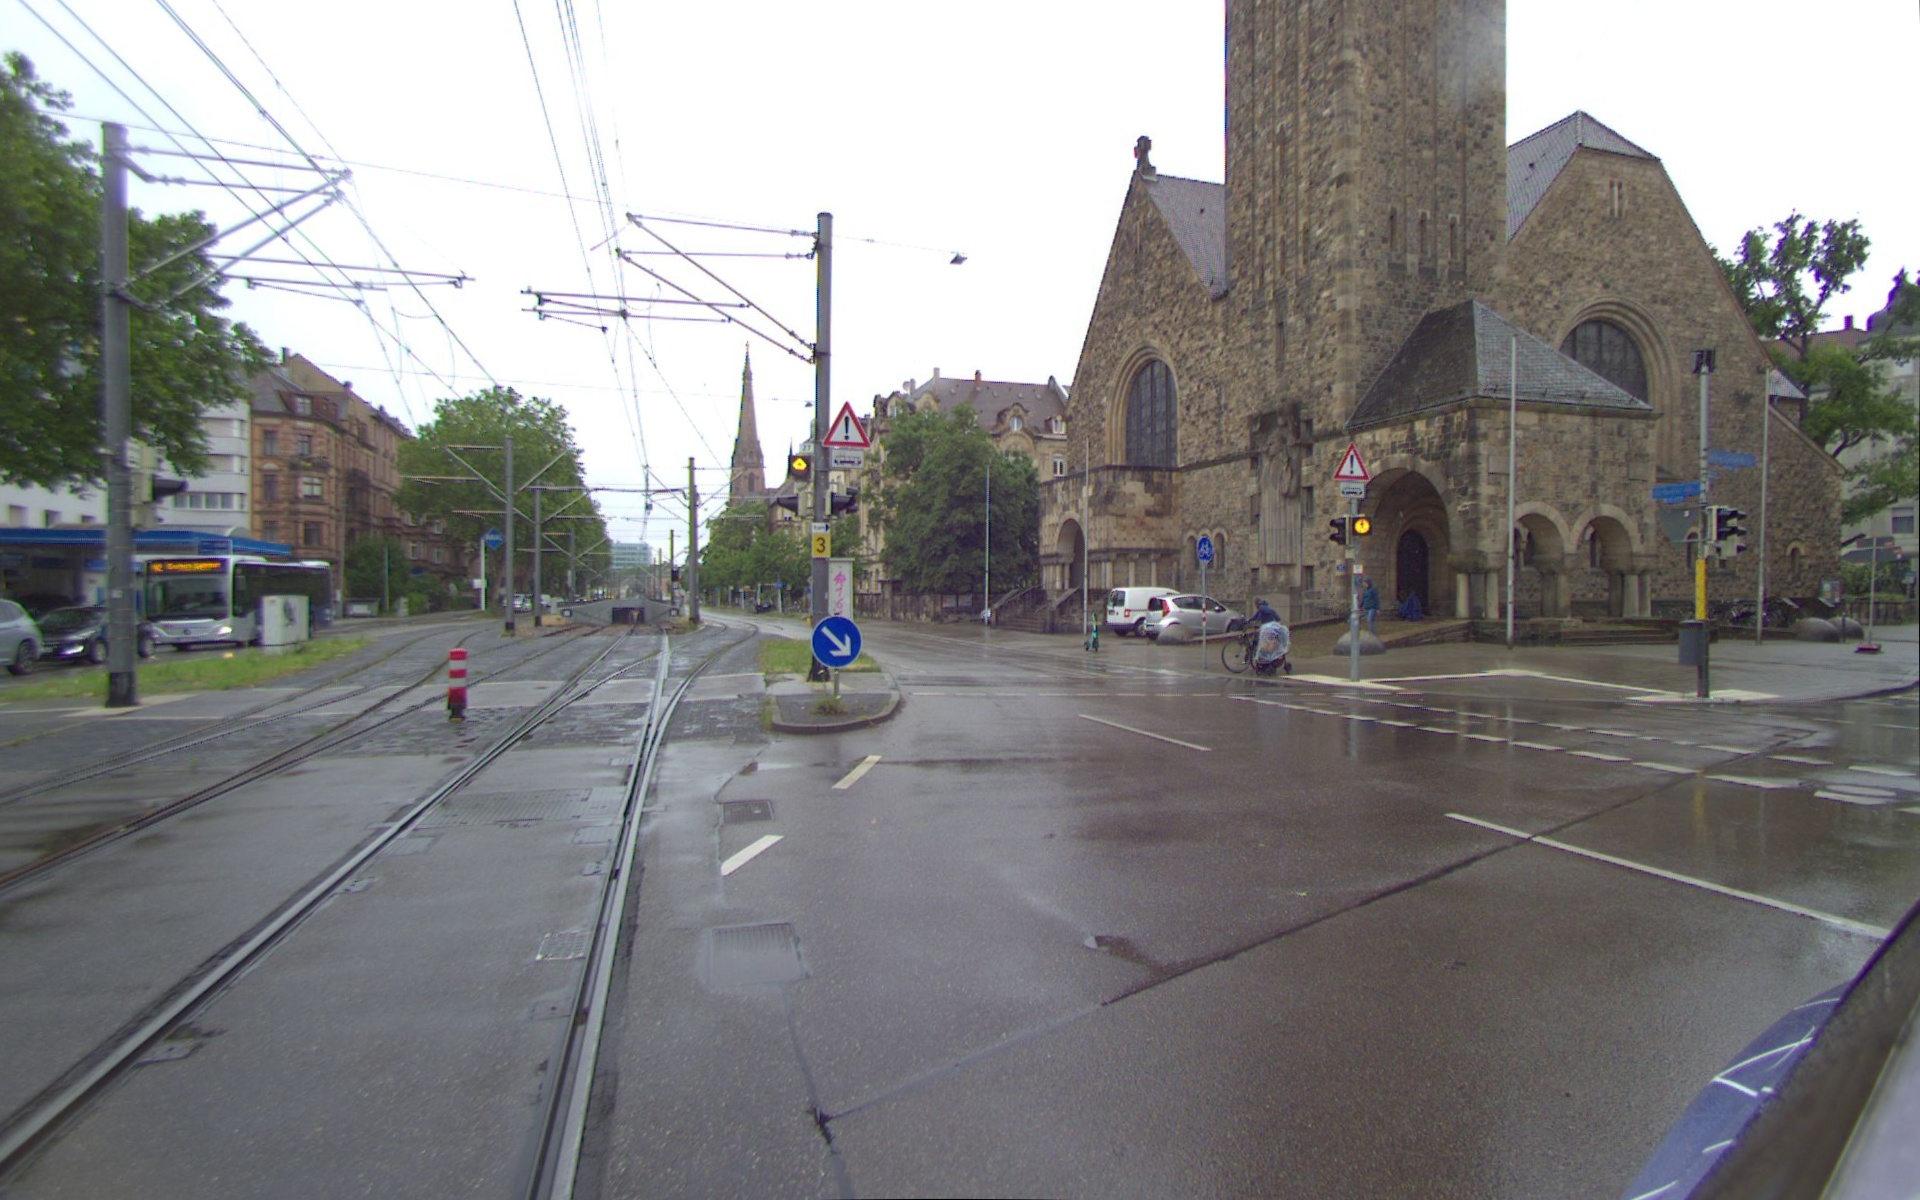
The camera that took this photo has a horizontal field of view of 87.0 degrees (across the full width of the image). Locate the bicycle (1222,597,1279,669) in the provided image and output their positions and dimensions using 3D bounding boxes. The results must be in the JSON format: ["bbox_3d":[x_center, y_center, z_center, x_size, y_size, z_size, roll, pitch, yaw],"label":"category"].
[{"bbox_3d":[6.326,0.687,21.975,0.530,1.485,1.914,0,0,37],"label":"bicycle"}]

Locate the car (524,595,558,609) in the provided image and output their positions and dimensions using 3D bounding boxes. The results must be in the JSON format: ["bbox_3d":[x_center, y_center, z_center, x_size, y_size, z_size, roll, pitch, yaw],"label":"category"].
[{"bbox_3d":[-50.269,0.192,121.471,3.740,1.644,1.780,0,0,-18],"label":"car"}]

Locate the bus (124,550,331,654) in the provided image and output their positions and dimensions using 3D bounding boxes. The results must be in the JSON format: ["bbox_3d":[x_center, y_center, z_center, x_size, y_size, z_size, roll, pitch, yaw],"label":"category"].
[{"bbox_3d":[-26.192,0.022,37.044,2.832,3.153,12.127,0,0,-20],"label":"bus"}]

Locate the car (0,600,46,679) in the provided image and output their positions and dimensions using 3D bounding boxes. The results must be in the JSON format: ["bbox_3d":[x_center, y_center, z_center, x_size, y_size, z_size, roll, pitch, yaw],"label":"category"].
[{"bbox_3d":[-20.486,0.820,20.155,1.754,1.620,4.564,0,0,-19],"label":"car"}]

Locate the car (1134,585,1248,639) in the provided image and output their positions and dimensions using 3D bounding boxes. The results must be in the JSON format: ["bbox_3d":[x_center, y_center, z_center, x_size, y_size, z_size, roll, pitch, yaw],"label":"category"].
[{"bbox_3d":[7.915,0.387,34.713,3.289,1.593,1.740,-4,1,-16],"label":"car"}]

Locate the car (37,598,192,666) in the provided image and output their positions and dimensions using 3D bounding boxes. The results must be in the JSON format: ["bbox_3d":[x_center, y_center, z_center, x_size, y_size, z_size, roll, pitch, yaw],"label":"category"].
[{"bbox_3d":[-22.049,0.759,26.599,1.741,1.620,4.187,0,0,-19],"label":"car"}]

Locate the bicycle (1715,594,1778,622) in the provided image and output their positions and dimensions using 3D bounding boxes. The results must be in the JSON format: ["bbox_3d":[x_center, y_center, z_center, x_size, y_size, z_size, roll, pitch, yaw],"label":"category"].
[{"bbox_3d":[30.754,0.301,39.613,0.569,1.074,1.932,0,1,-21],"label":"bicycle"}]

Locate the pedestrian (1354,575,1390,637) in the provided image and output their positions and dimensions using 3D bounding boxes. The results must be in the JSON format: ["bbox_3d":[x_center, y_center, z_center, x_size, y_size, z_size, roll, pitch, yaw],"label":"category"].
[{"bbox_3d":[11.620,0.157,28.548,0.664,1.724,0.635,0,0,-22],"label":"pedestrian"}]

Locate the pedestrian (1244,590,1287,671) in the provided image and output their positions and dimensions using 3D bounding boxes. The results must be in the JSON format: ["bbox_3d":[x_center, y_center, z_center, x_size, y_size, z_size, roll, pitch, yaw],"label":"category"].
[{"bbox_3d":[6.472,0.635,21.450,0.676,1.684,0.604,0,0,-39],"label":"pedestrian"}]

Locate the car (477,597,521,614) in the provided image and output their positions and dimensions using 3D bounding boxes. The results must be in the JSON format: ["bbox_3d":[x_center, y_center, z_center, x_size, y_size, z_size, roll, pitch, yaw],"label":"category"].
[{"bbox_3d":[-47.460,0.521,104.170,3.757,1.644,1.772,-1,0,-43],"label":"car"}]

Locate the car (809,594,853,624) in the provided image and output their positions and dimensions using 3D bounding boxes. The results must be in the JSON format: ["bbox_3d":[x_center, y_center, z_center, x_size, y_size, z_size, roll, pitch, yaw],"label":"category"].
[{"bbox_3d":[-8.483,0.553,66.250,1.939,1.816,4.008,-1,1,-22],"label":"car"}]

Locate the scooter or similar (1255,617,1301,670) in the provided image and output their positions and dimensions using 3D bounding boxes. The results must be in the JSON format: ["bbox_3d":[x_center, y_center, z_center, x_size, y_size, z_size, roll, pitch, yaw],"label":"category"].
[{"bbox_3d":[6.612,0.895,21.021,0.908,1.062,0.514,0,0,-40],"label":"scooter or similar"}]

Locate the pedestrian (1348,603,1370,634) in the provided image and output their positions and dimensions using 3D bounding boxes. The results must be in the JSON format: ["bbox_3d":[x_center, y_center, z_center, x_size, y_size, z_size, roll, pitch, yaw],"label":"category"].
[{"bbox_3d":[11.729,0.547,29.776,0.388,0.895,0.457,0,0,-22],"label":"pedestrian"}]

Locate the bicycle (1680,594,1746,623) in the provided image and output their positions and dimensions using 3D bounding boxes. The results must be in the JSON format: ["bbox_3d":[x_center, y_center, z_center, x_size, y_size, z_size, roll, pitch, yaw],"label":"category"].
[{"bbox_3d":[29.003,0.296,39.011,0.565,1.062,2.013,0,1,-25],"label":"bicycle"}]

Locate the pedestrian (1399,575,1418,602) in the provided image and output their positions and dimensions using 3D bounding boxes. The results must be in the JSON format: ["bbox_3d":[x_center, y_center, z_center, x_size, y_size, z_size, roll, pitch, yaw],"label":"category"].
[{"bbox_3d":[15.228,-0.395,34.364,0.447,0.895,0.397,0,0,-20],"label":"pedestrian"}]

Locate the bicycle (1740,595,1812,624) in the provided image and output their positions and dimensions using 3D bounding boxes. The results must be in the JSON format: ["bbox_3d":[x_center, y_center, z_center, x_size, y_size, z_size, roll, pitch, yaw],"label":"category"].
[{"bbox_3d":[32.087,0.344,39.819,0.664,1.074,2.160,0,1,-21],"label":"bicycle"}]

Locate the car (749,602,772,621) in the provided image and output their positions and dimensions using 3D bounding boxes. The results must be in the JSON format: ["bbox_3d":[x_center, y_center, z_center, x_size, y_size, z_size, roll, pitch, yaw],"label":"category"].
[{"bbox_3d":[-19.751,1.117,100.120,1.744,1.799,4.008,-1,0,-19],"label":"car"}]

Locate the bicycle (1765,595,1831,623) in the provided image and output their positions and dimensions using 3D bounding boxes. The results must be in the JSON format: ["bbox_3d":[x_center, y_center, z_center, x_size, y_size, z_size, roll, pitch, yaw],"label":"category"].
[{"bbox_3d":[33.161,0.337,40.086,0.593,1.080,1.987,0,1,-20],"label":"bicycle"}]

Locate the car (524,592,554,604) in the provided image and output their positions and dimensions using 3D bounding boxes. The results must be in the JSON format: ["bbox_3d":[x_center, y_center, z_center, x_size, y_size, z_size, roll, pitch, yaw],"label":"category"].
[{"bbox_3d":[-58.630,-0.268,141.056,3.740,1.644,1.780,0,0,-18],"label":"car"}]

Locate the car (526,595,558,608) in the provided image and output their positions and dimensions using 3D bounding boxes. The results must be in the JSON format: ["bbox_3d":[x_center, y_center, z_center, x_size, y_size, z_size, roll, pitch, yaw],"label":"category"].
[{"bbox_3d":[-54.076,0.231,131.031,3.740,1.644,1.780,0,0,-18],"label":"car"}]

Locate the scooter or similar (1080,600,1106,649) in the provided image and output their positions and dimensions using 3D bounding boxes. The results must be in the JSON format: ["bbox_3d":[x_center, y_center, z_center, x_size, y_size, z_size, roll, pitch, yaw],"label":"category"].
[{"bbox_3d":[3.905,0.714,29.857,0.280,1.405,1.106,0,0,-20],"label":"scooter or similar"}]

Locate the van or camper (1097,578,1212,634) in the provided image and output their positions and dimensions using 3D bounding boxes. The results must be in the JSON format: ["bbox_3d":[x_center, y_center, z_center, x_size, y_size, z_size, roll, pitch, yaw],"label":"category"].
[{"bbox_3d":[7.310,0.197,38.041,3.849,1.749,1.652,-4,2,-19],"label":"van or camper"}]

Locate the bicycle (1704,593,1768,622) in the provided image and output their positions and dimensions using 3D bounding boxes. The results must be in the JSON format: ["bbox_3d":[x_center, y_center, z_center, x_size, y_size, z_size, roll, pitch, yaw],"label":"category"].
[{"bbox_3d":[30.138,0.278,39.342,0.569,1.074,1.932,0,1,-23],"label":"bicycle"}]

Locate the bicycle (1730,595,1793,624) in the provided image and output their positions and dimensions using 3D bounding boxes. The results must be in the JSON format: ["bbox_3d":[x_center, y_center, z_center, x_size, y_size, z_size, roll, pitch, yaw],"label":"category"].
[{"bbox_3d":[31.394,0.351,39.675,0.569,1.074,1.932,0,1,-21],"label":"bicycle"}]

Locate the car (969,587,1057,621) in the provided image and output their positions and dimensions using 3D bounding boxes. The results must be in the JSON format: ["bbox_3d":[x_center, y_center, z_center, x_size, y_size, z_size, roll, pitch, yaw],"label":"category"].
[{"bbox_3d":[2.627,0.174,50.456,3.916,1.638,2.004,-1,0,-18],"label":"car"}]
